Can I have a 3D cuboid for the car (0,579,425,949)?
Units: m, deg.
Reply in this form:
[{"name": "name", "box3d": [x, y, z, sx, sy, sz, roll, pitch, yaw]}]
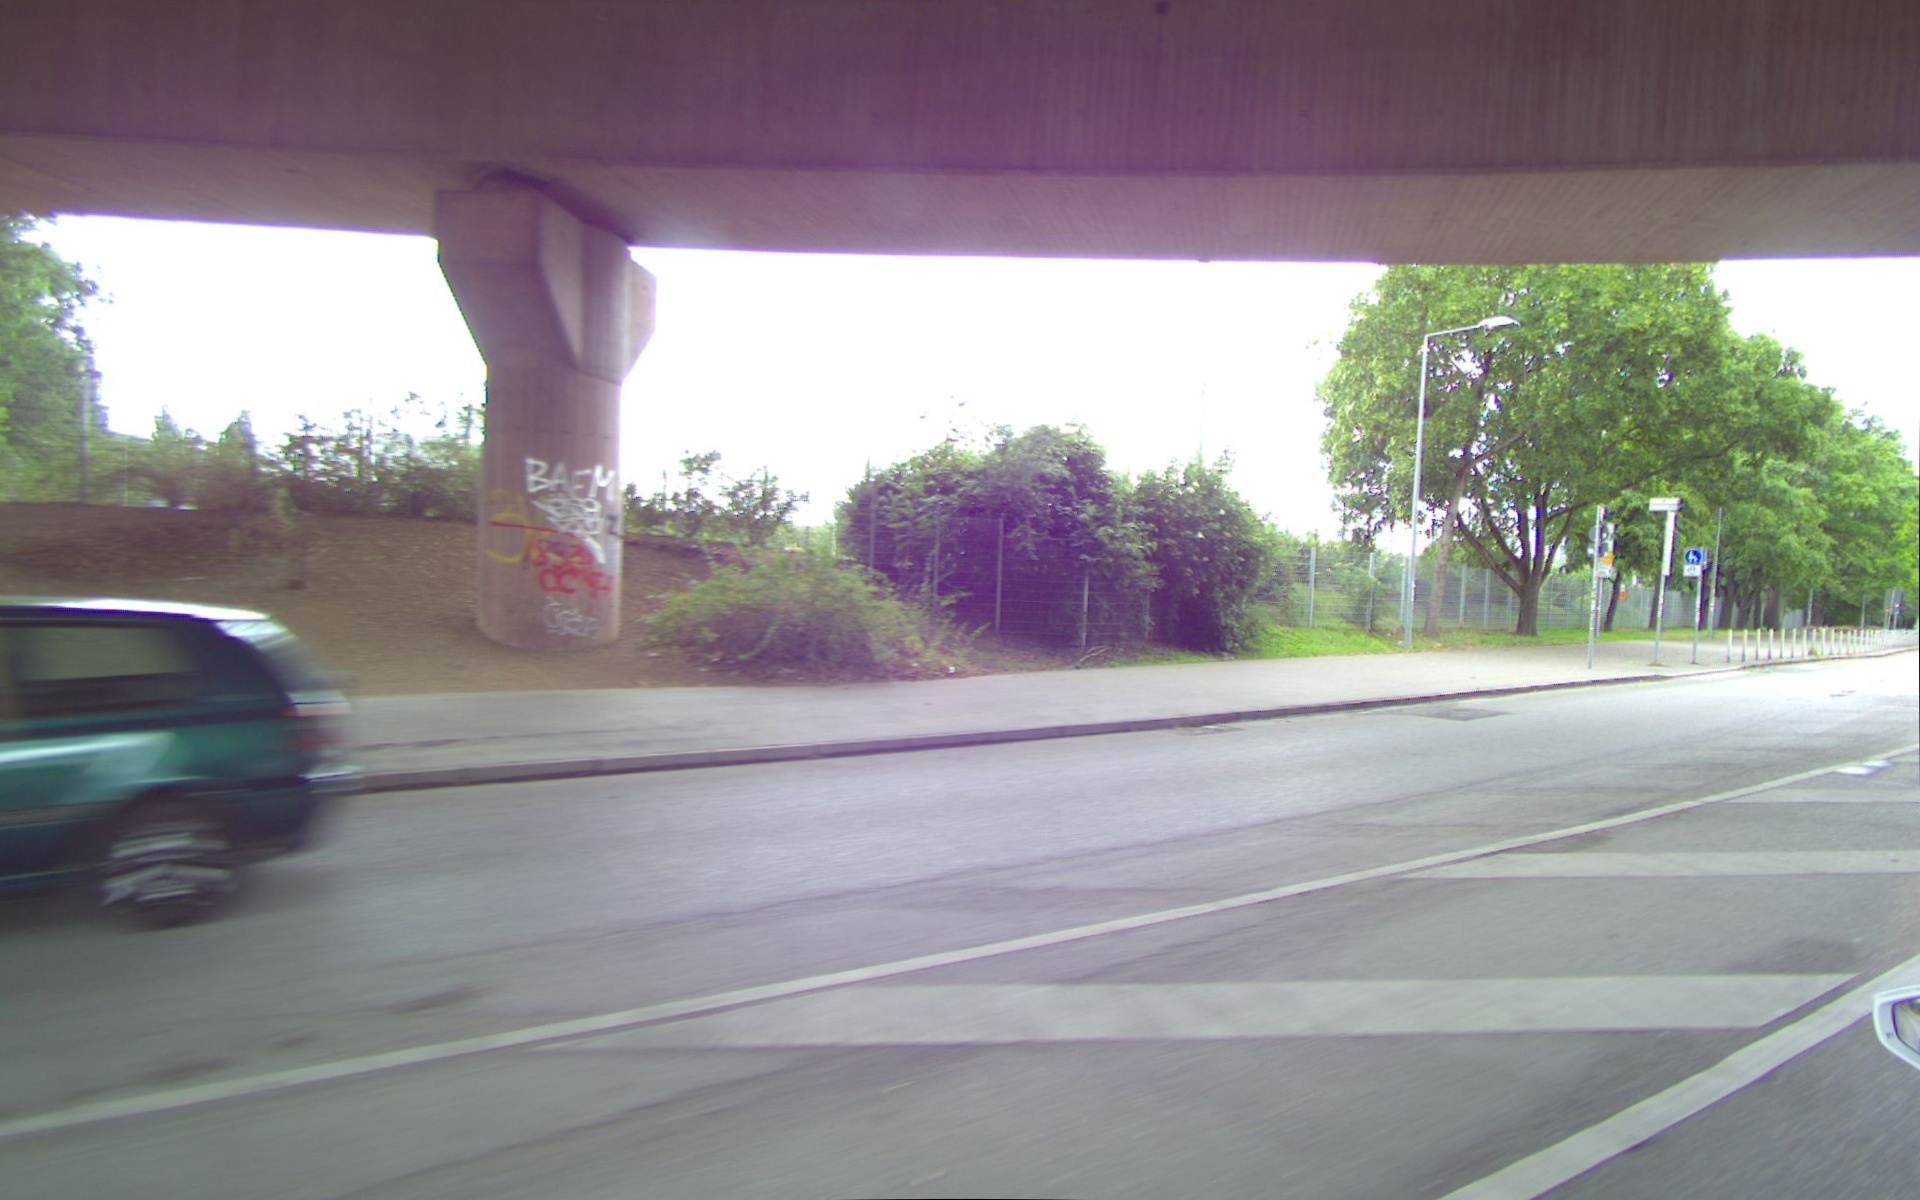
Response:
[{"name": "car", "box3d": [-4.686, 0.639, 4.443, 3.957, 1.450, 1.666, 2, 1, -33]}]
